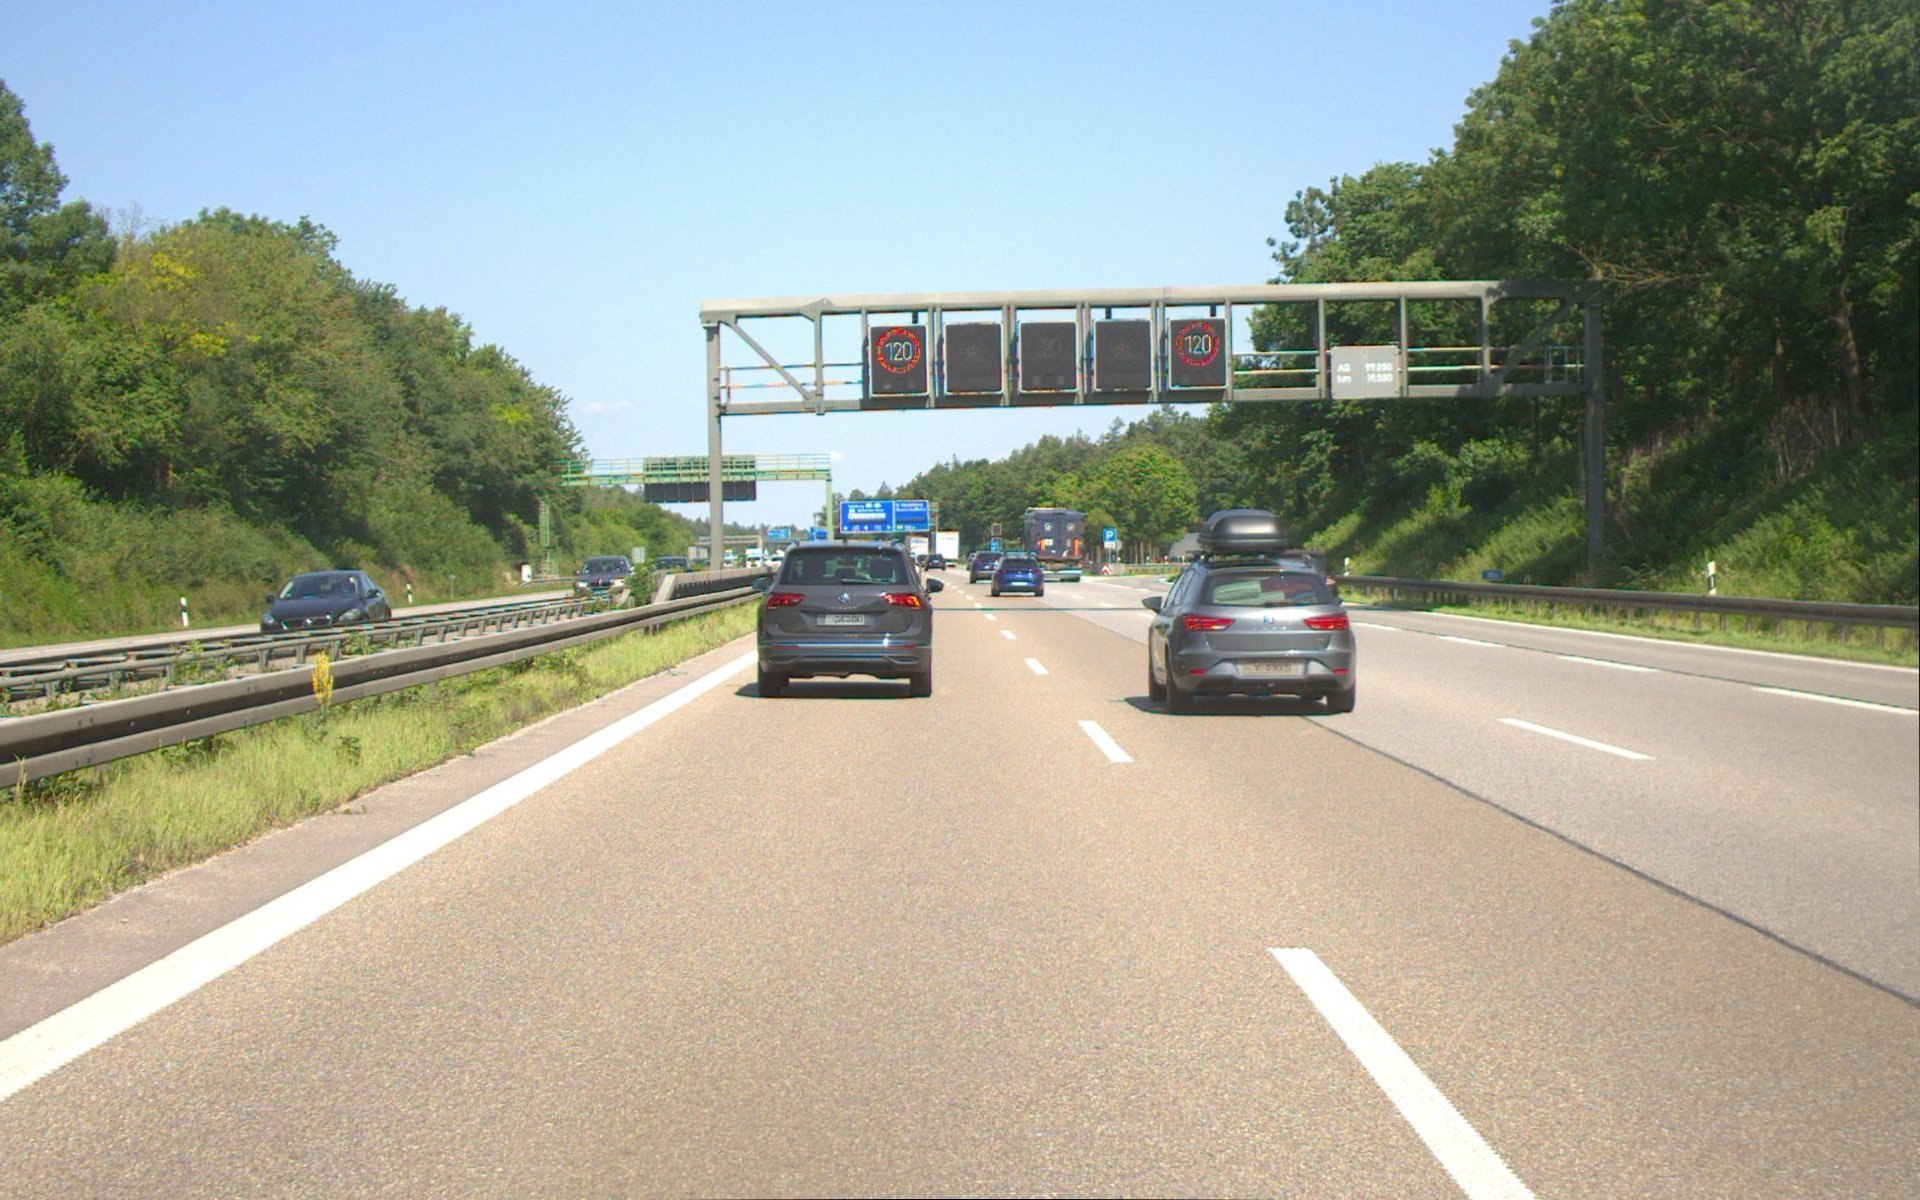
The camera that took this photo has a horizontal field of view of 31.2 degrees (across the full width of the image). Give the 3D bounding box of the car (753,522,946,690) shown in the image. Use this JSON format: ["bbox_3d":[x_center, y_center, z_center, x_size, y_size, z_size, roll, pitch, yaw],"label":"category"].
[{"bbox_3d":[-1.119,0.018,36.623,1.799,1.663,4.258,1,1,1],"label":"car"}]

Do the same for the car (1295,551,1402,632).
[{"bbox_3d":[7.925,-0.202,70.400,1.765,1.563,4.258,1,1,1],"label":"car"}]

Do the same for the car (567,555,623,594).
[{"bbox_3d":[-11.954,-0.854,112.648,1.479,1.206,3.458,-1,1,-1],"label":"car"}]

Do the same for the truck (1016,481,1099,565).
[{"bbox_3d":[5.214,-4.142,186.980,3.780,4.407,14.052,0,1,-1],"label":"truck"}]

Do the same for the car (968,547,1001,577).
[{"bbox_3d":[1.225,-1.904,171.893,1.471,1.393,3.410,2,1,-1],"label":"car"}]

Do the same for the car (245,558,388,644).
[{"bbox_3d":[-11.216,-0.013,60.145,1.713,1.393,4.150,-2,1,-1],"label":"car"}]

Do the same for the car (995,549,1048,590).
[{"bbox_3d":[2.154,-1.072,119.873,1.765,1.377,4.258,1,1,1],"label":"car"}]

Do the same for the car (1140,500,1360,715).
[{"bbox_3d":[2.715,0.018,33.099,1.665,1.870,4.827,-2,1,0],"label":"car"}]

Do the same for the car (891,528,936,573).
[{"bbox_3d":[-2.117,-2.244,156.333,1.993,2.007,4.000,1,1,-1],"label":"car"}]
